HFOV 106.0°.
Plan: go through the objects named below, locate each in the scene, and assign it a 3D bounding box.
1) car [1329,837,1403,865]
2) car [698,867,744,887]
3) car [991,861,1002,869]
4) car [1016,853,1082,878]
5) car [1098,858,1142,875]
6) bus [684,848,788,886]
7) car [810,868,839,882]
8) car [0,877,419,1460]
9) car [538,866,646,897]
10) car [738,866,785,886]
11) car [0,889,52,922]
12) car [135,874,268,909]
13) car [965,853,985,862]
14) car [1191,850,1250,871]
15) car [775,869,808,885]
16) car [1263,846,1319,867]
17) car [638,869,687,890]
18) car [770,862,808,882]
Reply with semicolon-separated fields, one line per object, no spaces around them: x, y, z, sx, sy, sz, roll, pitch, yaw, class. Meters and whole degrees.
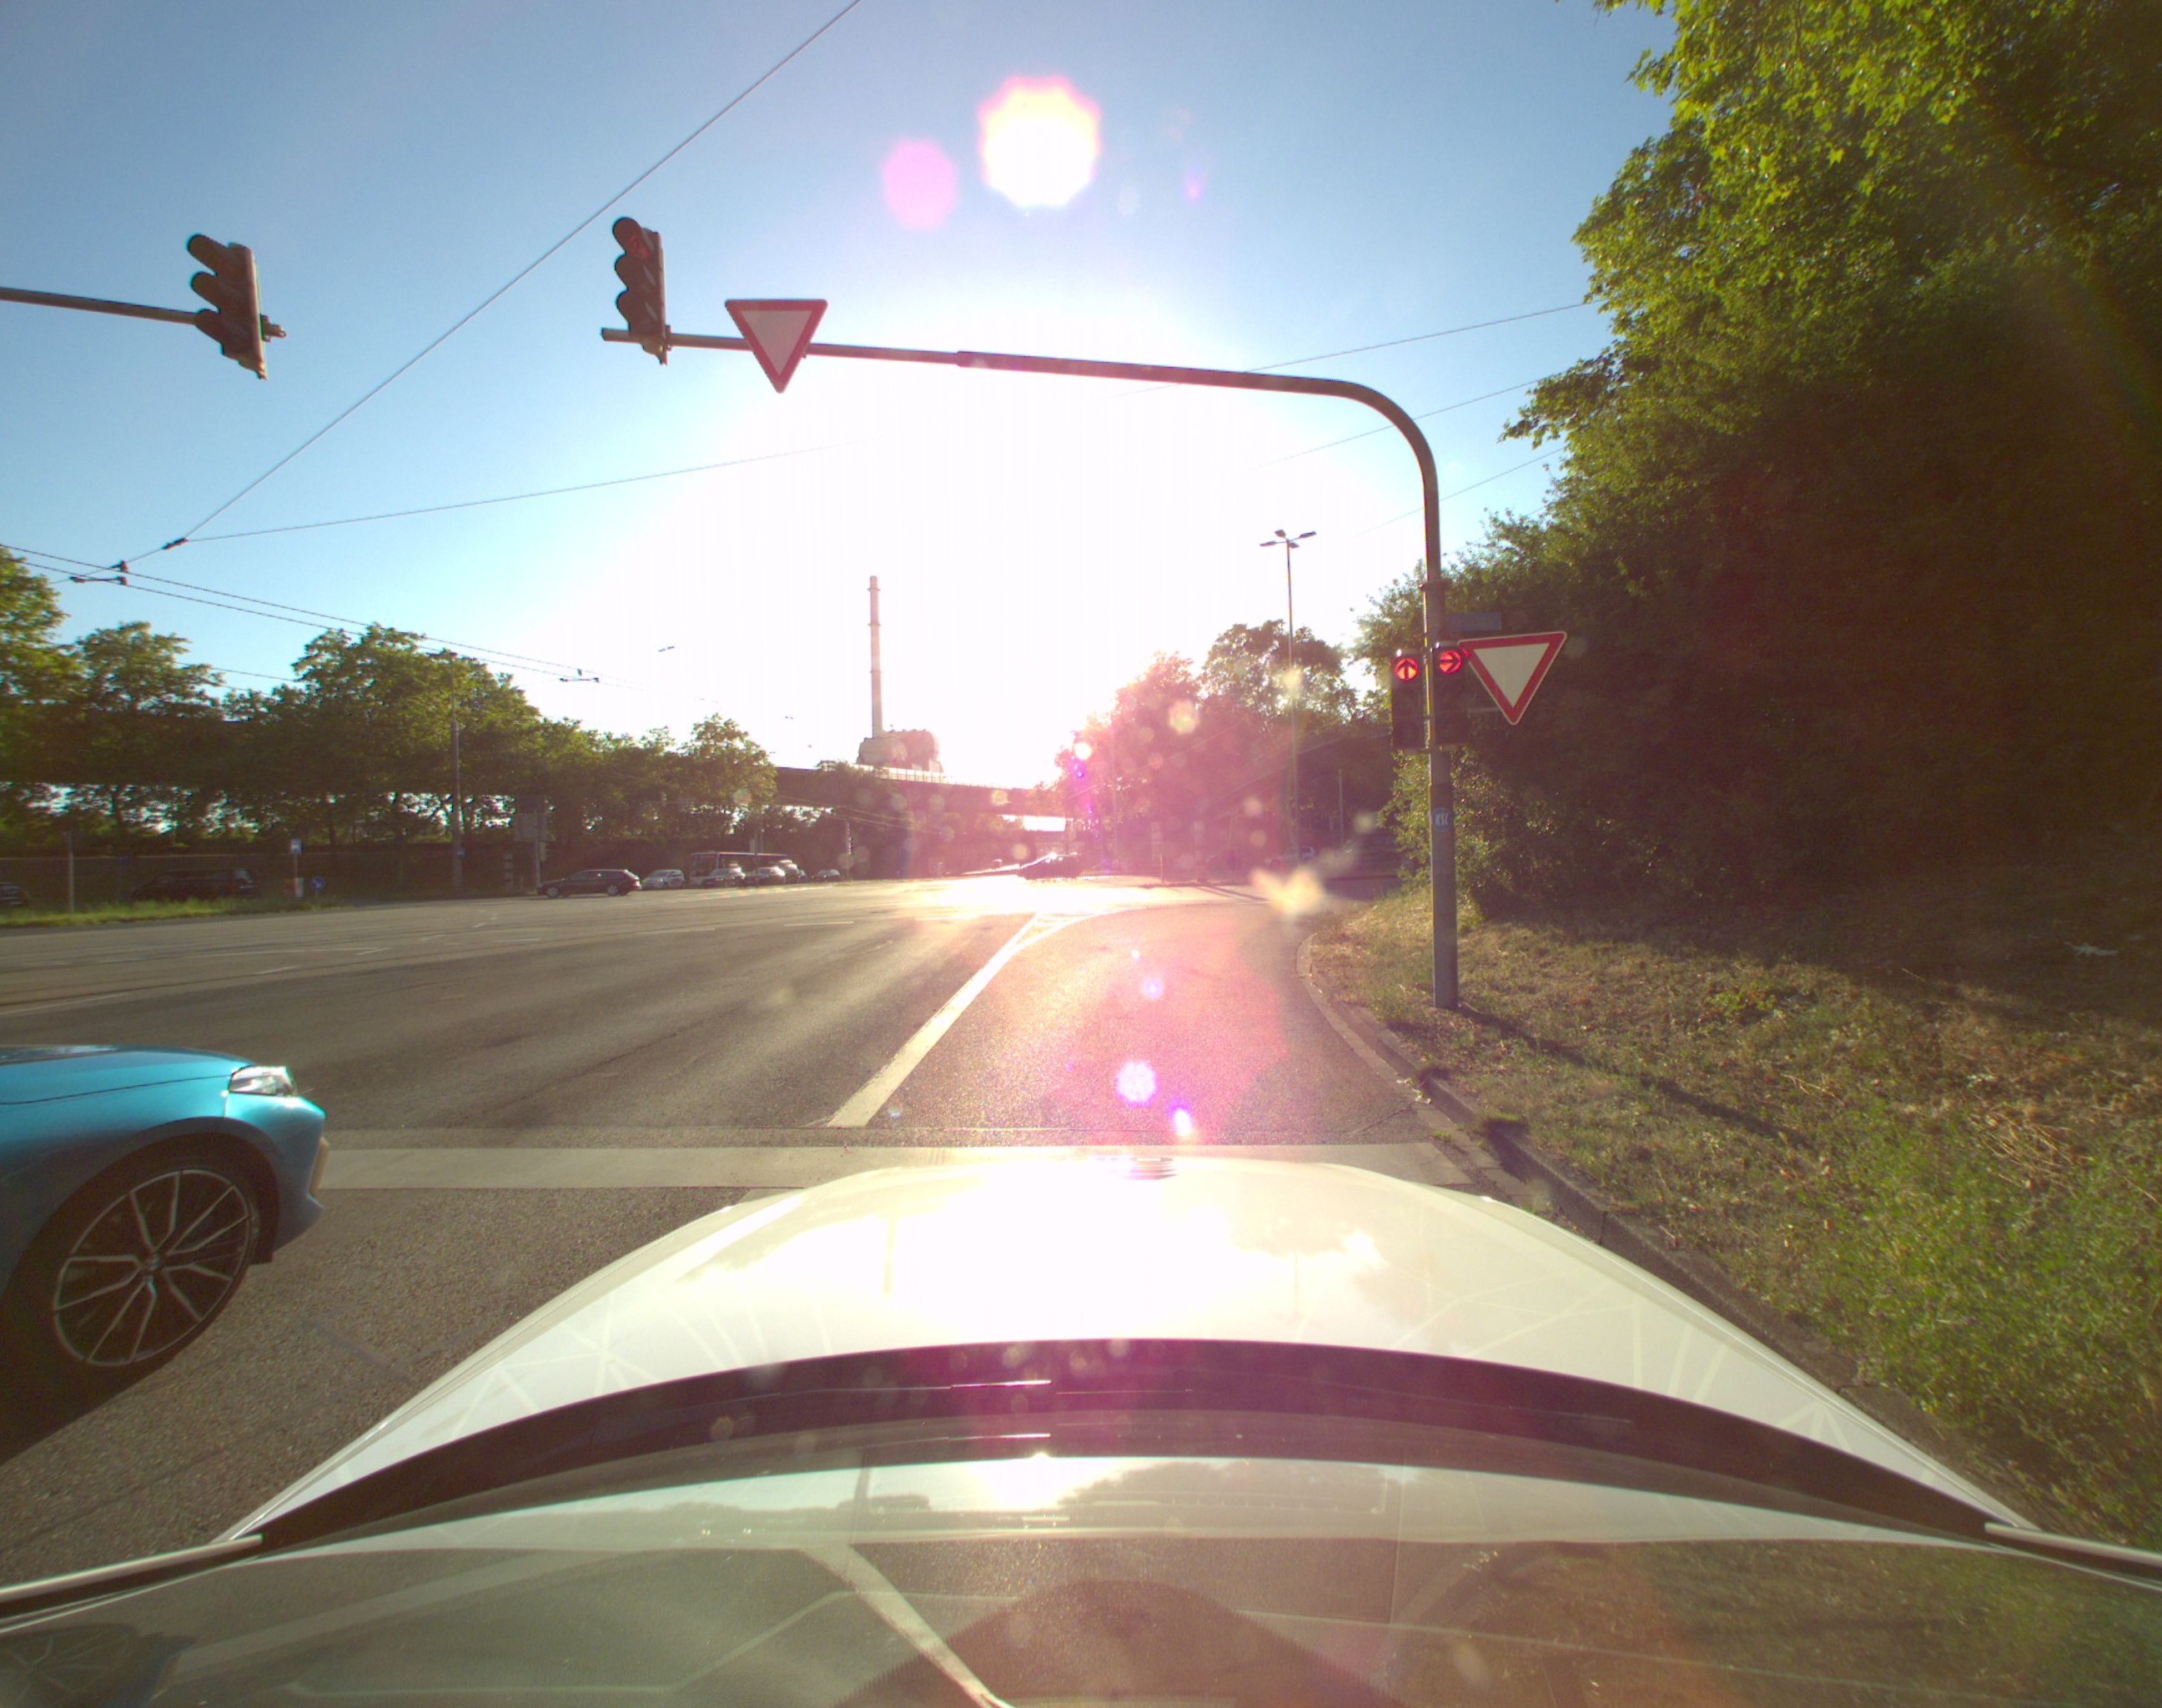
20.295;-0.200;57.979;4.704;1.905;1.987;-1;0;-19;car
-26.360;1.659;59.742;1.599;1.354;3.999;-1;0;0;car
-18.455;2.346;177.852;1.703;1.652;4.101;-1;0;5;car
-1.958;0.694;49.783;3.730;1.422;1.687;-1;0;-17;car
3.488;1.117;73.422;1.705;1.422;4.103;-1;0;-39;car
-29.541;1.045;70.679;2.810;2.954;12.866;-1;0;4;bus
-27.772;2.255;88.133;1.693;1.442;4.002;-1;0;2;car
-3.574;0.811;1.049;1.779;1.417;4.511;-1;0;-1;car
-26.026;1.441;43.499;4.527;1.454;1.990;-1;0;-15;car
-23.525;1.583;60.117;1.704;1.354;4.097;-1;0;2;car
-52.595;2.477;38.656;4.515;1.454;1.995;-1;0;-7;car
-46.638;1.963;43.276;4.517;1.623;1.994;-1;0;-8;car
-21.549;0.669;165.625;1.974;1.771;4.025;-1;-1;34;car
9.925;0.436;57.959;3.730;1.422;1.687;-1;0;-17;car
-28.891;2.244;81.381;1.693;1.442;4.002;-1;0;2;car
17.273;0.206;67.235;4.190;1.652;1.717;-1;0;1;car
-30.101;1.822;58.707;1.599;1.354;3.734;-1;0;0;car
-25.557;1.568;71.344;1.704;1.652;4.097;-1;0;2;car
